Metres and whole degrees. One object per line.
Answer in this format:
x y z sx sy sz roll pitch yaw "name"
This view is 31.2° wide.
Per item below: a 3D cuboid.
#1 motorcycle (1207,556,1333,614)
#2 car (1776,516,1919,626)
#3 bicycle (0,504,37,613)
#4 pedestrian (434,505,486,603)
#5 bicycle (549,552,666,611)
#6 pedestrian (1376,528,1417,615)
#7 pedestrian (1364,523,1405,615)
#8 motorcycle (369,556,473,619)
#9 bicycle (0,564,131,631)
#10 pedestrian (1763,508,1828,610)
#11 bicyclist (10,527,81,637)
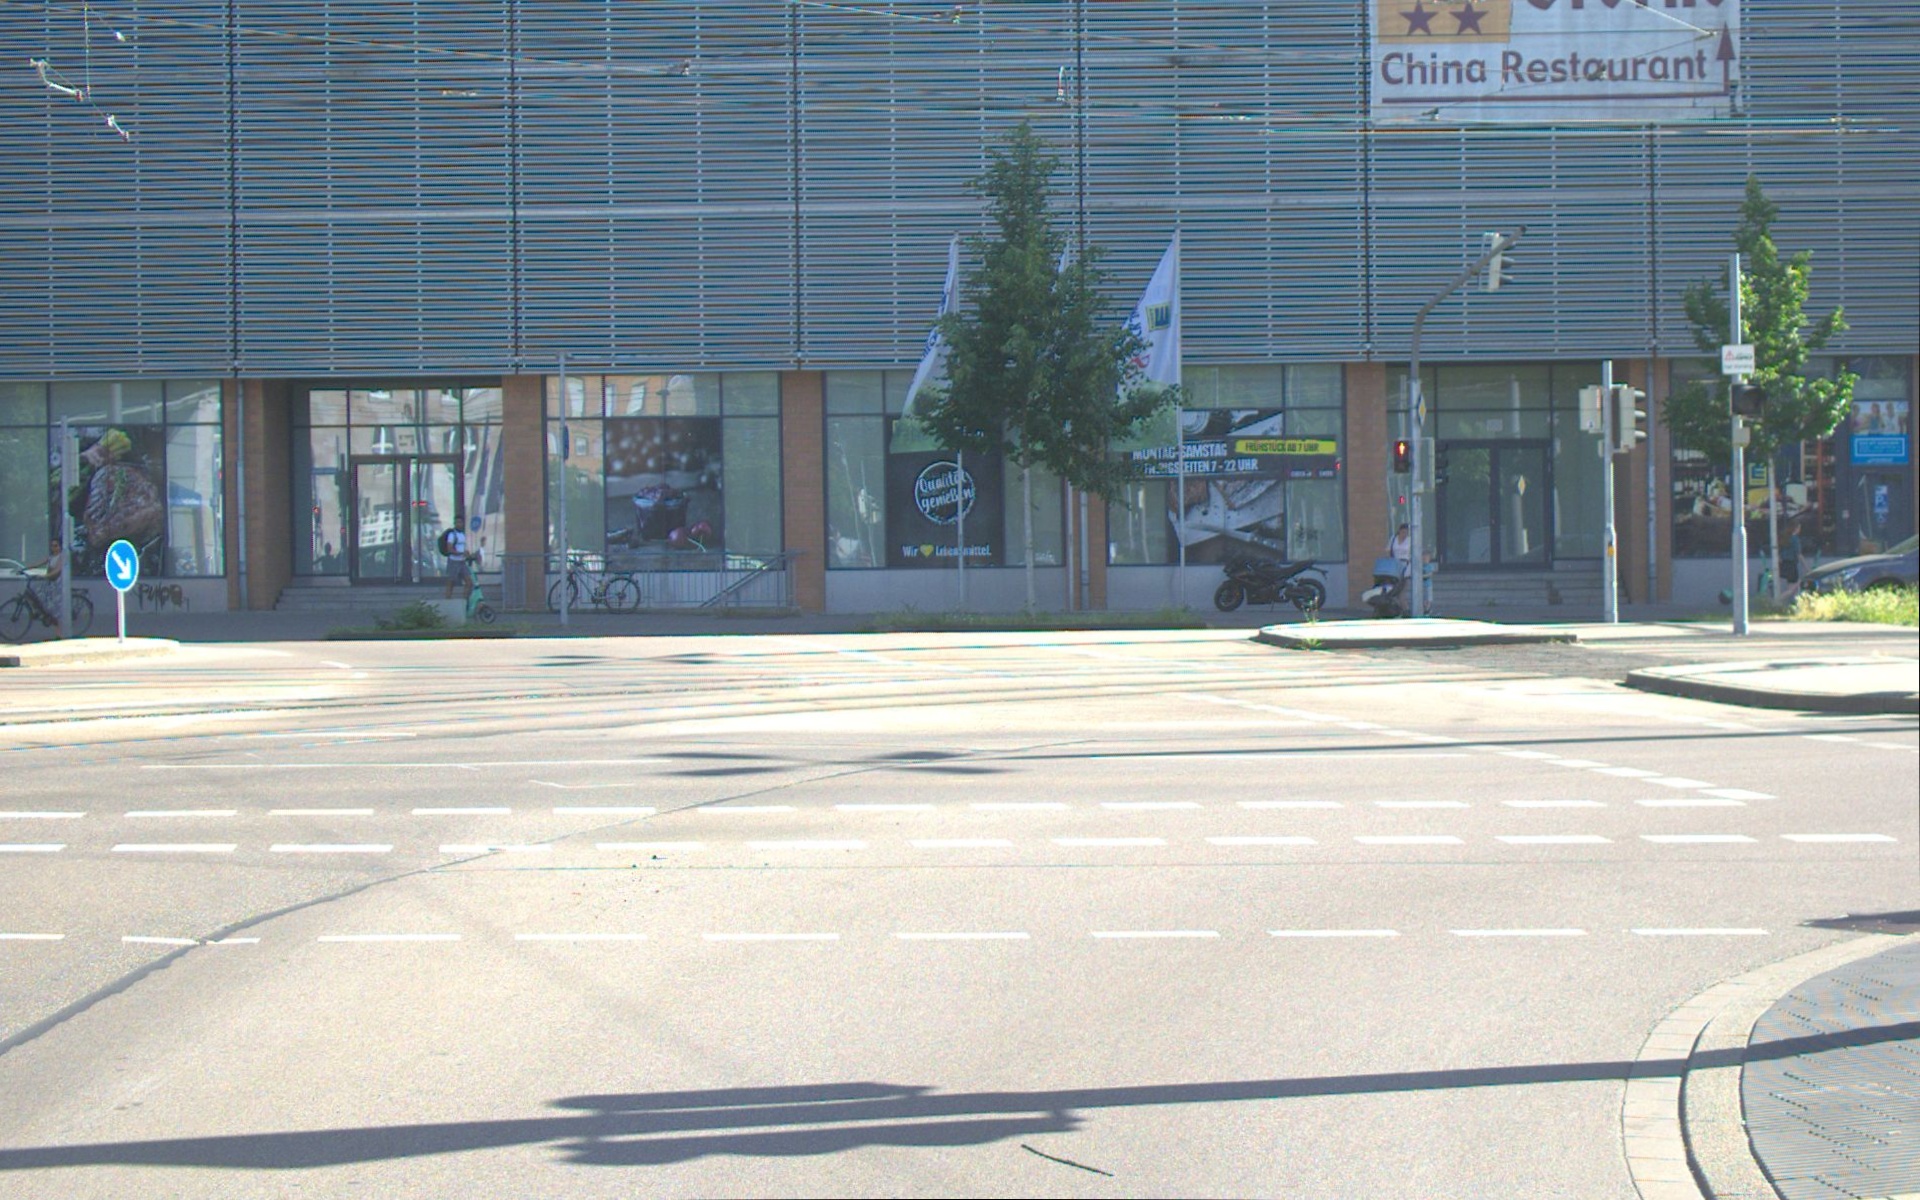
5.676 -0.280 63.004 2.202 1.039 1.061 0 2 0 "motorcycle"
13.779 -0.426 47.845 4.487 1.489 1.495 -1 1 0 "car"
-19.299 -0.791 63.762 3.987 2.007 1.330 0 1 0 "bicycle"
-9.110 -0.839 62.652 0.848 1.757 0.620 -1 1 -1 "pedestrian"
-6.425 -0.342 62.822 2.026 1.055 1.145 -1 1 -1 "bicycle"
7.374 -0.492 58.098 0.589 1.457 0.658 0 1 -1 "pedestrian"
7.074 -0.516 57.300 0.589 1.529 0.658 0 1 -1 "pedestrian"
-9.098 -0.210 58.048 1.652 1.055 0.497 0 1 9 "motorcycle"
-15.047 -0.049 57.113 2.238 1.067 1.046 -1 1 -41 "bicycle"
14.420 -0.707 59.349 0.853 1.732 0.754 -1 1 -6 "pedestrian"
-15.160 -0.304 56.990 0.843 1.797 0.816 -1 1 -42 "bicyclist"
